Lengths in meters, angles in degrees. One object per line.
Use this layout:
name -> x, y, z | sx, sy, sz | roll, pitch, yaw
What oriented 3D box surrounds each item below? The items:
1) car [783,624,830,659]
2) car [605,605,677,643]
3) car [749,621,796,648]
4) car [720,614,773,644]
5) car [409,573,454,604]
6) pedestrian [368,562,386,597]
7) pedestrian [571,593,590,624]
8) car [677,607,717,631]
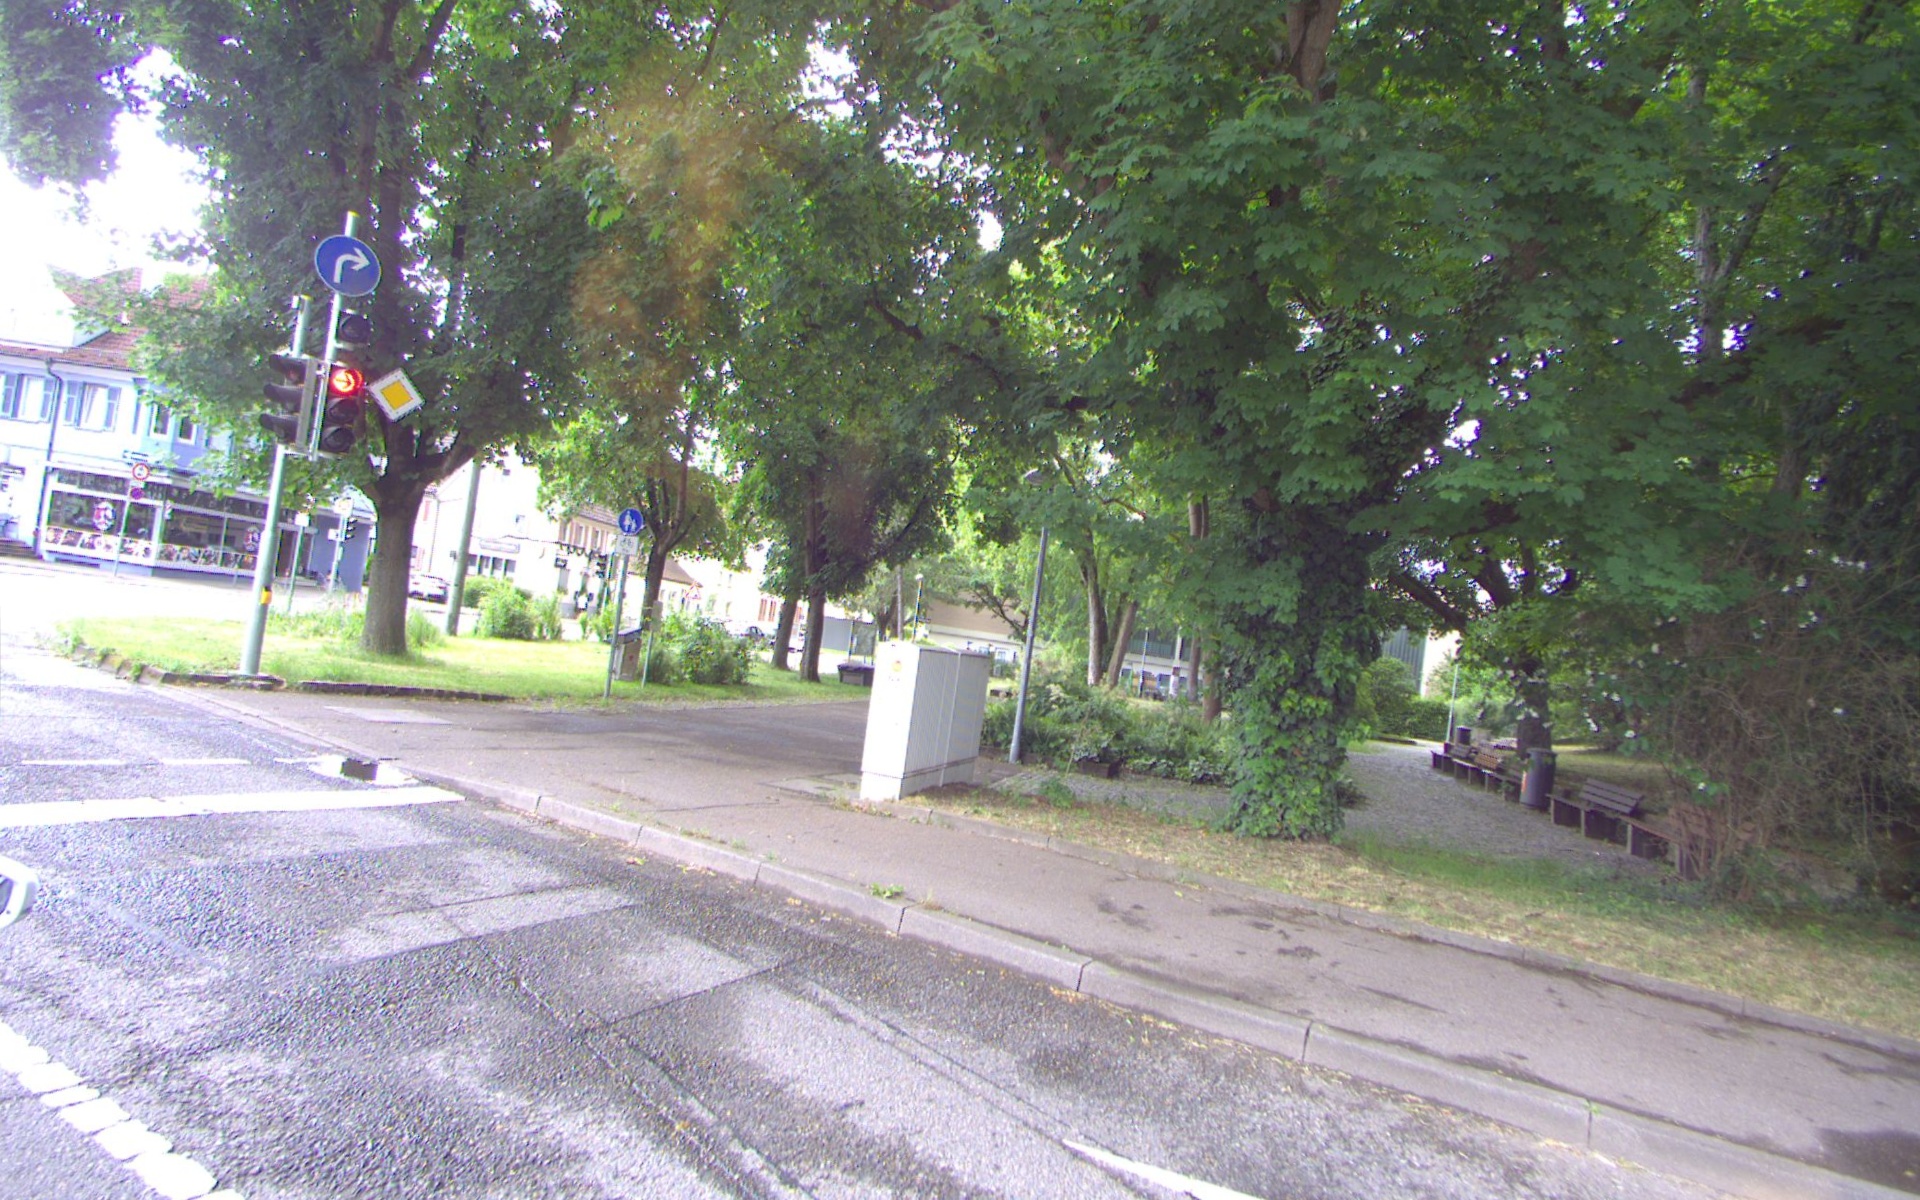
car -> -10.058, 2.758, 66.173 | 1.750, 2.037, 4.005 | 7, -2, 7
car -> -14.011, 1.089, 44.356 | 1.530, 1.336, 3.514 | 7, -2, 9
car -> -11.169, 2.070, 60.105 | 1.530, 1.336, 3.514 | 7, -2, 8
car -> -11.570, 1.596, 54.820 | 1.530, 1.336, 3.514 | 7, -2, 9
car -> -27.872, -0.603, 53.143 | 1.479, 1.384, 3.166 | 8, -2, -19
pedestrian -> -27.284, -0.955, 47.104 | 0.452, 1.535, 0.586 | 7, -1, -16
pedestrian -> -21.668, 0.476, 57.473 | 0.600, 1.668, 0.610 | 7, -1, 3
car -> -19.372, 1.442, 74.248 | 1.528, 1.436, 4.005 | 7, -2, 4
